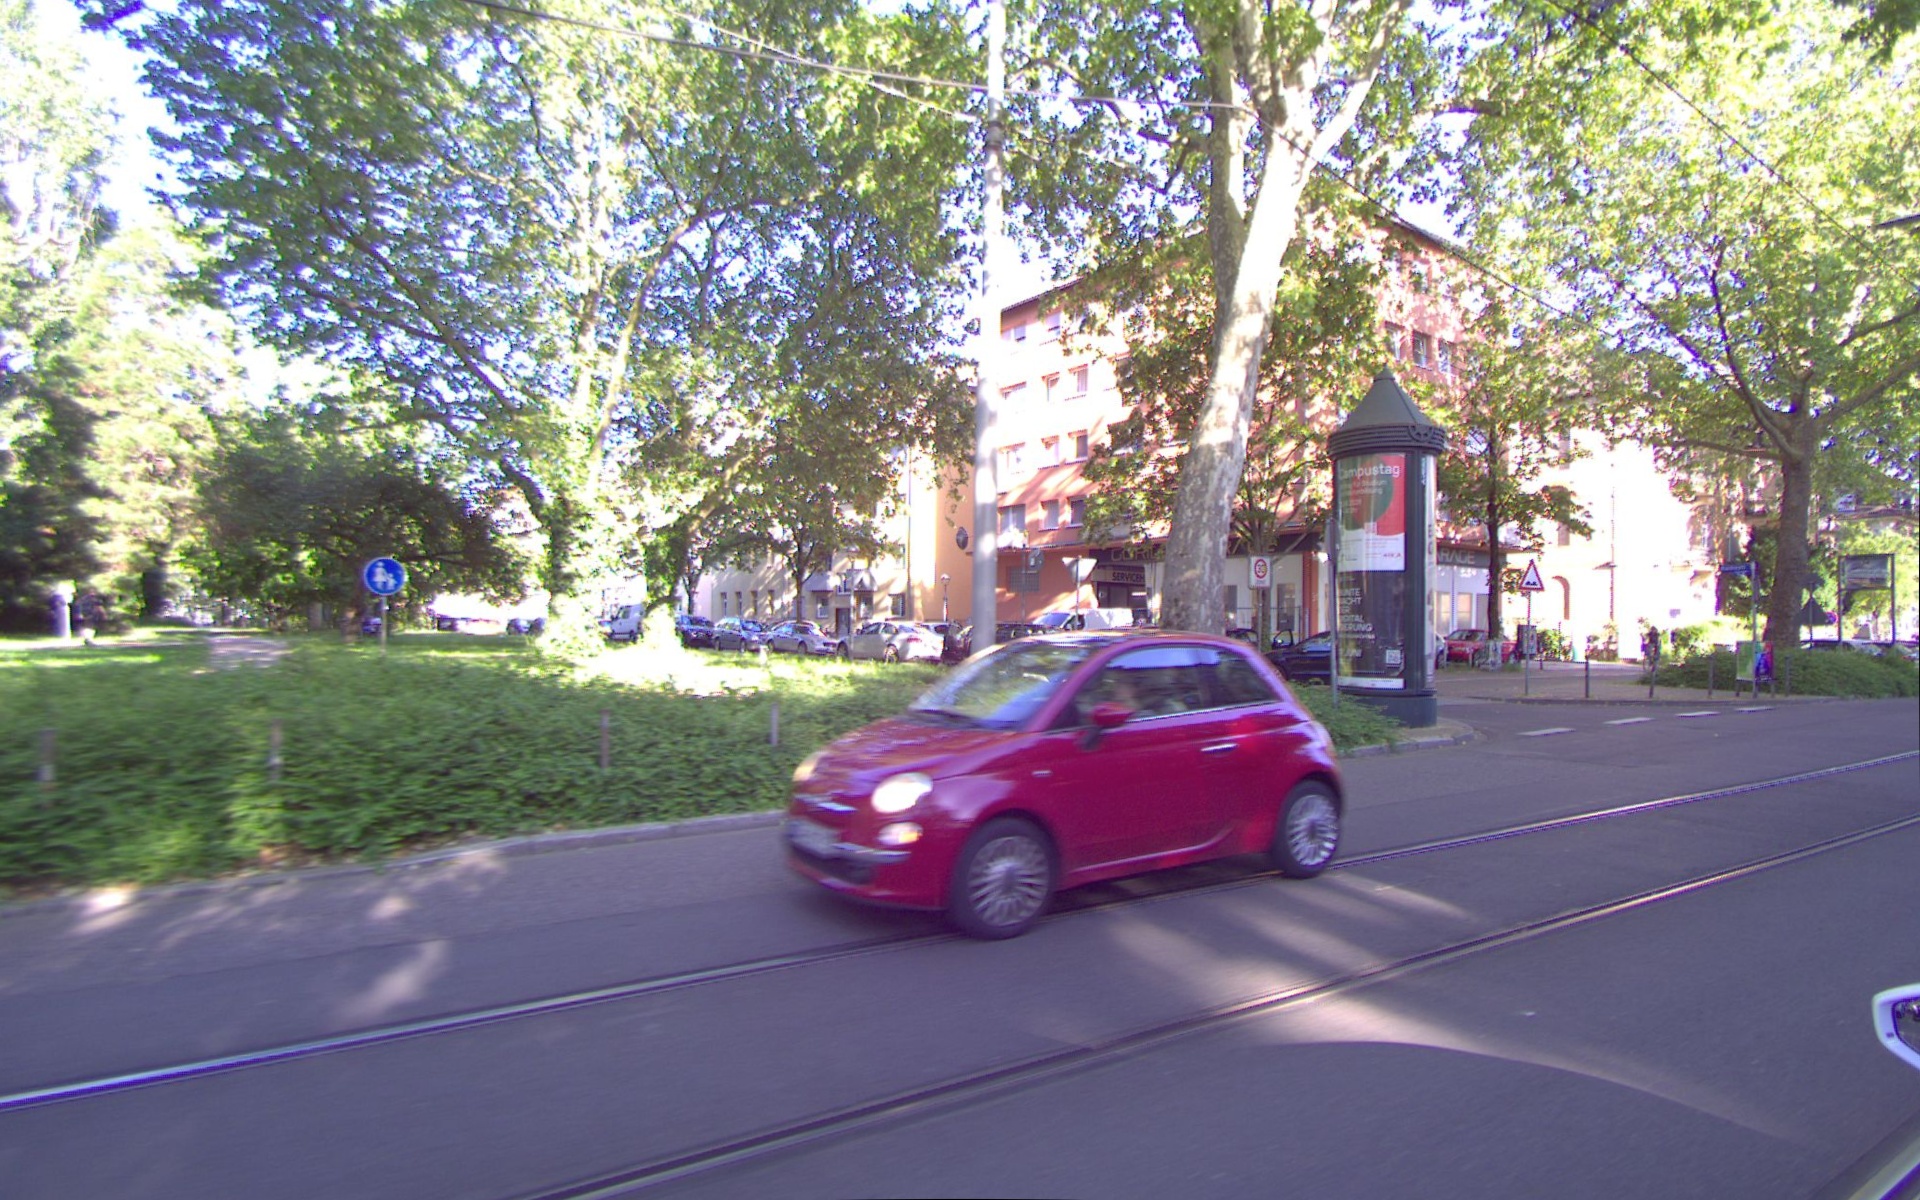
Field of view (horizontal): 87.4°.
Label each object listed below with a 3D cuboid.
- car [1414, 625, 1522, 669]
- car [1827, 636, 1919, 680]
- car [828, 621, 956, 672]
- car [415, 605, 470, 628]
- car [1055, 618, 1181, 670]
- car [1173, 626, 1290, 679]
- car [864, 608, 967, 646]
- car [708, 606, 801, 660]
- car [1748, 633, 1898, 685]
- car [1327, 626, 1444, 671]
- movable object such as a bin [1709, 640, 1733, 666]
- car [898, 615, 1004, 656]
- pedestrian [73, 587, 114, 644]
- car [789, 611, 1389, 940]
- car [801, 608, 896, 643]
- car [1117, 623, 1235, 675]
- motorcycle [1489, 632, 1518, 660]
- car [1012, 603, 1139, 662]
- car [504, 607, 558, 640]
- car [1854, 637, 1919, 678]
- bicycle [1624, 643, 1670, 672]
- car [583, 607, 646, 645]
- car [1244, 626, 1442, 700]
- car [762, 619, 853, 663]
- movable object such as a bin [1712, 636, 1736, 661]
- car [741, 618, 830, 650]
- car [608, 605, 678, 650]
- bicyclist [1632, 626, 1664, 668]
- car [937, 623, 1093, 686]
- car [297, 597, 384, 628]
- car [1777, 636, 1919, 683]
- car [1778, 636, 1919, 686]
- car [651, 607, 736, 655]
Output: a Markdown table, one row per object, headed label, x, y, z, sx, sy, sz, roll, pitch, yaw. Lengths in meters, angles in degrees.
| label | x | y | z | sx | sy | sz | roll | pitch | yaw |
| --- | --- | --- | --- | --- | --- | --- | --- | --- | --- |
| car | 18.997 | 1.732 | 37.513 | 3.959 | 1.507 | 1.935 | 2 | -1 | -34 |
| car | 34.344 | 2.139 | 36.935 | 1.740 | 1.484 | 3.401 | 2 | -1 | -32 |
| car | -2.277 | 1.466 | 32.672 | 1.810 | 1.469 | 4.427 | 2 | -1 | -42 |
| car | -53.611 | 1.740 | 104.093 | 4.707 | 2.274 | 1.977 | 2 | -1 | -40 |
| car | 5.538 | 1.507 | 34.826 | 4.527 | 1.639 | 1.974 | 2 | -1 | -44 |
| car | 8.595 | 1.618 | 31.650 | 3.974 | 1.513 | 1.794 | 2 | -1 | -45 |
| car | -1.986 | 1.244 | 45.651 | 4.451 | 1.639 | 1.927 | 2 | -1 | -42 |
| car | -8.430 | 1.308 | 41.010 | 1.986 | 2.040 | 3.950 | 2 | -1 | -42 |
| car | 28.221 | 1.891 | 32.930 | 1.678 | 1.484 | 3.401 | 2 | -1 | -32 |
| car | 14.579 | 1.639 | 34.380 | 3.853 | 1.426 | 1.935 | 2 | -1 | -34 |
| movable object such as a bin | 34.699 | 2.421 | 45.809 | 0.537 | 1.124 | 0.720 | 2 | -1 | -33 |
| car | -0.344 | 1.534 | 43.765 | 4.451 | 1.639 | 1.927 | 2 | -1 | -42 |
| pedestrian | -26.587 | 0.469 | 30.826 | 0.702 | 1.695 | 0.775 | 2 | 0 | -23 |
| car | 0.879 | 0.849 | 6.157 | 3.438 | 1.463 | 1.650 | 2 | -2 | -34 |
| car | -5.521 | 1.306 | 50.033 | 4.451 | 1.639 | 1.927 | 2 | -1 | -42 |
| car | 7.172 | 1.591 | 33.159 | 3.974 | 1.546 | 1.973 | 2 | -1 | -45 |
| motorcycle | 26.321 | 2.231 | 48.623 | 1.611 | 1.306 | 0.595 | 2 | -1 | -36 |
| car | 4.336 | 1.195 | 37.116 | 4.887 | 2.030 | 1.974 | 2 | -1 | -44 |
| car | -28.625 | 1.538 | 66.922 | 1.985 | 2.040 | 4.688 | 2 | -1 | -41 |
| car | 36.869 | 2.206 | 38.229 | 1.835 | 1.484 | 3.961 | 2 | -1 | -34 |
| bicycle | 25.860 | 2.136 | 37.802 | 0.958 | 1.012 | 2.566 | 1 | -1 | 45 |
| car | -19.622 | 1.461 | 56.964 | 1.982 | 2.040 | 4.694 | 2 | -1 | -37 |
| car | 8.741 | 1.381 | 23.181 | 1.729 | 1.468 | 3.955 | 2 | -1 | -39 |
| car | -5.694 | 1.475 | 37.158 | 1.675 | 1.469 | 3.677 | 2 | -1 | -39 |
| movable object such as a bin | 35.119 | 2.229 | 46.181 | 0.554 | 1.124 | 0.719 | 2 | -1 | -33 |
| car | -9.439 | 1.854 | 54.577 | 4.451 | 1.639 | 1.927 | 2 | -1 | -42 |
| car | -16.723 | 1.429 | 52.830 | 2.025 | 2.226 | 4.695 | 2 | -1 | -37 |
| bicyclist | 25.939 | 1.759 | 37.882 | 0.791 | 1.527 | 1.110 | 1 | -1 | 45 |
| car | 1.472 | 1.488 | 28.461 | 1.845 | 1.508 | 4.489 | 2 | -1 | -40 |
| car | -35.185 | 0.700 | 57.174 | 4.057 | 1.639 | 1.882 | 2 | -1 | -30 |
| car | 32.224 | 2.103 | 36.136 | 1.801 | 1.484 | 4.060 | 2 | -1 | -32 |
| car | 30.183 | 2.029 | 33.954 | 1.668 | 1.484 | 3.582 | 2 | -1 | -32 |
| car | -12.226 | 1.390 | 45.889 | 1.983 | 2.040 | 4.691 | 2 | -1 | -39 |
